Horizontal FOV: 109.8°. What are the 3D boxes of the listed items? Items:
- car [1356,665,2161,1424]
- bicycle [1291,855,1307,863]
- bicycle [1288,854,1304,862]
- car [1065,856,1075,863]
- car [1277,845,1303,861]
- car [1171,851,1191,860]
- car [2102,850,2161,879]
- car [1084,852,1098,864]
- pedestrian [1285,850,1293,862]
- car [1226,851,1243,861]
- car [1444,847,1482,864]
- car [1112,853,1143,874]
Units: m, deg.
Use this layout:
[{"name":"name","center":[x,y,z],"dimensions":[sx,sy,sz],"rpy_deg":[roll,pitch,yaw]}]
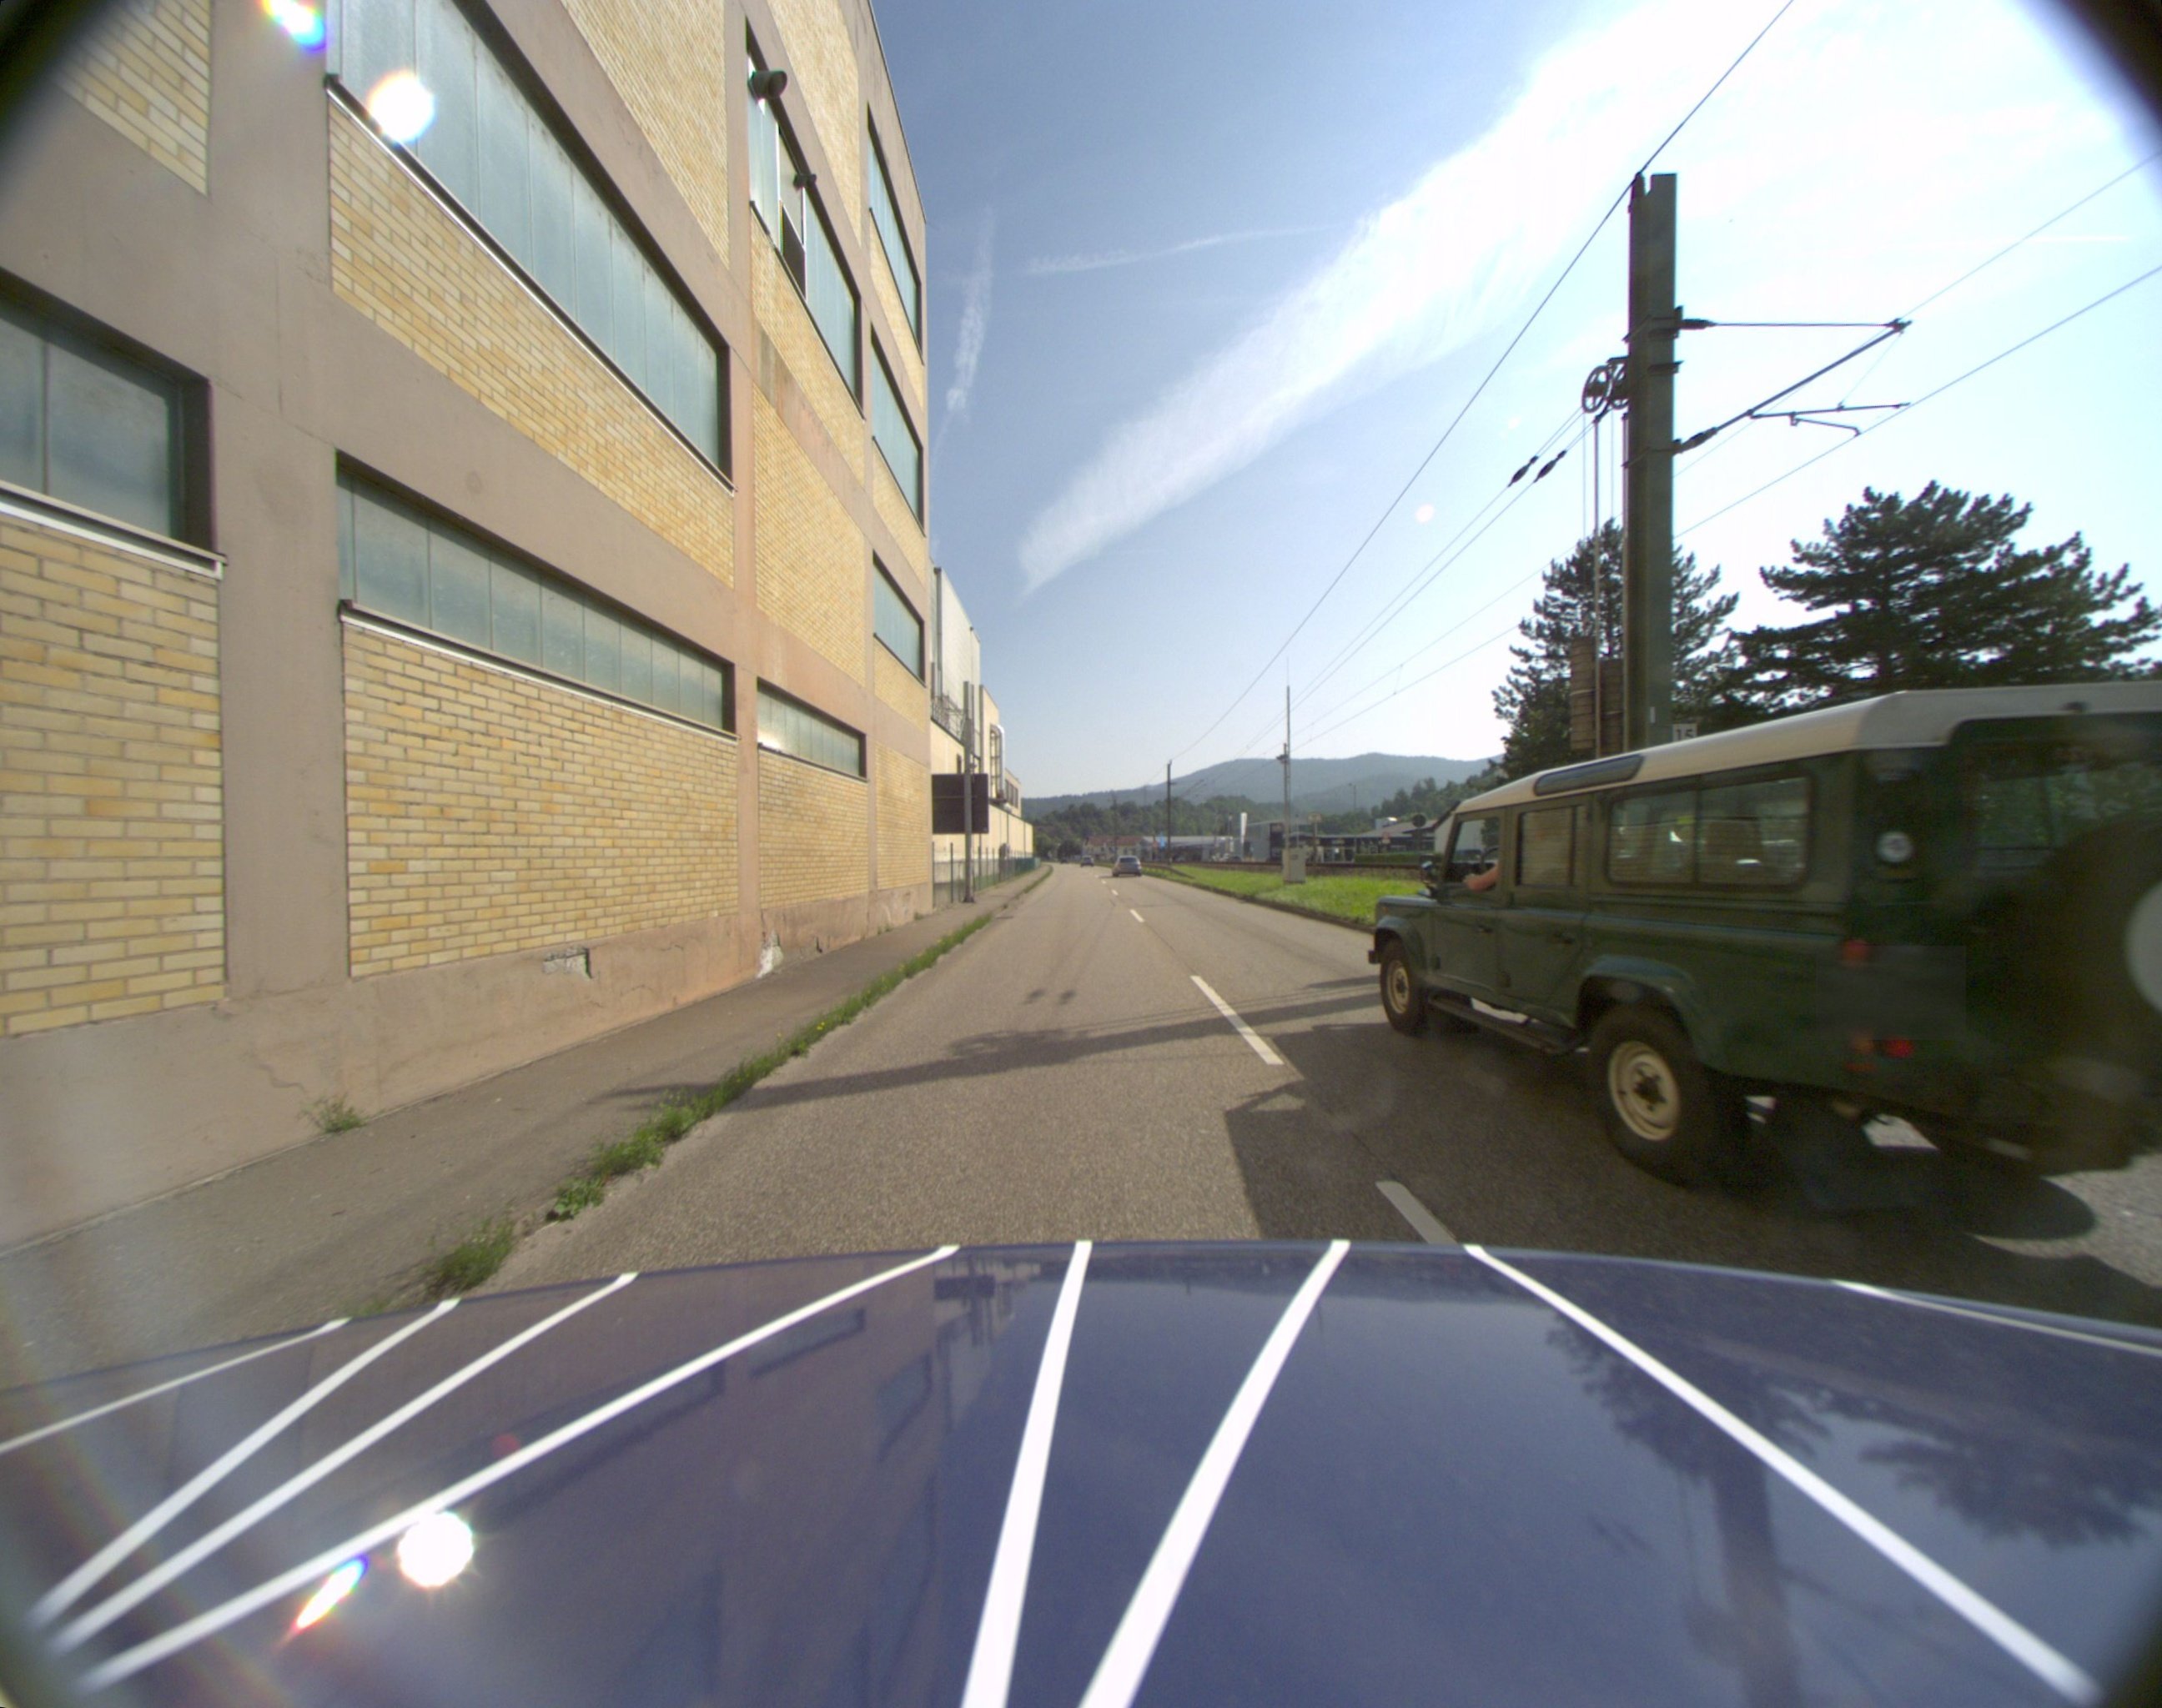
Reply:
[{"name":"car","center":[3.338,0.501,4.467],"dimensions":[1.762,2.066,4.808],"rpy_deg":[-2,0,2]},{"name":"bicycle","center":[32.332,0.796,112.883],"dimensions":[2.175,1.124,0.729],"rpy_deg":[-1,1,-14]},{"name":"bicycle","center":[31.126,0.599,109.980],"dimensions":[2.175,1.124,0.729],"rpy_deg":[-1,1,-14]},{"name":"car","center":[-2.563,1.243,175.911],"dimensions":[1.769,1.395,4.117],"rpy_deg":[-1,0,-6]},{"name":"car","center":[36.775,-0.260,133.772],"dimensions":[2.380,2.618,6.155],"rpy_deg":[-1,2,-6]},{"name":"car","center":[21.409,0.325,162.580],"dimensions":[3.968,1.519,1.662],"rpy_deg":[-4,1,-7]},{"name":"car","center":[58.370,0.572,40.725],"dimensions":[1.684,1.539,3.996],"rpy_deg":[0,0,-9]},{"name":"car","center":[1.463,0.605,110.800],"dimensions":[1.911,1.591,4.569],"rpy_deg":[-1,1,-1]},{"name":"pedestrian","center":[24.178,0.244,88.319],"dimensions":[0.575,1.324,0.673],"rpy_deg":[-1,1,-9]},{"name":"car","center":[26.711,0.267,131.937],"dimensions":[1.523,1.679,4.367],"rpy_deg":[-2,1,-7]},{"name":"car","center":[29.957,0.113,59.616],"dimensions":[1.394,1.344,2.893],"rpy_deg":[0,1,-4]},{"name":"car","center":[3.205,0.663,53.180],"dimensions":[1.772,1.397,4.296],"rpy_deg":[0,0,-1]}]
